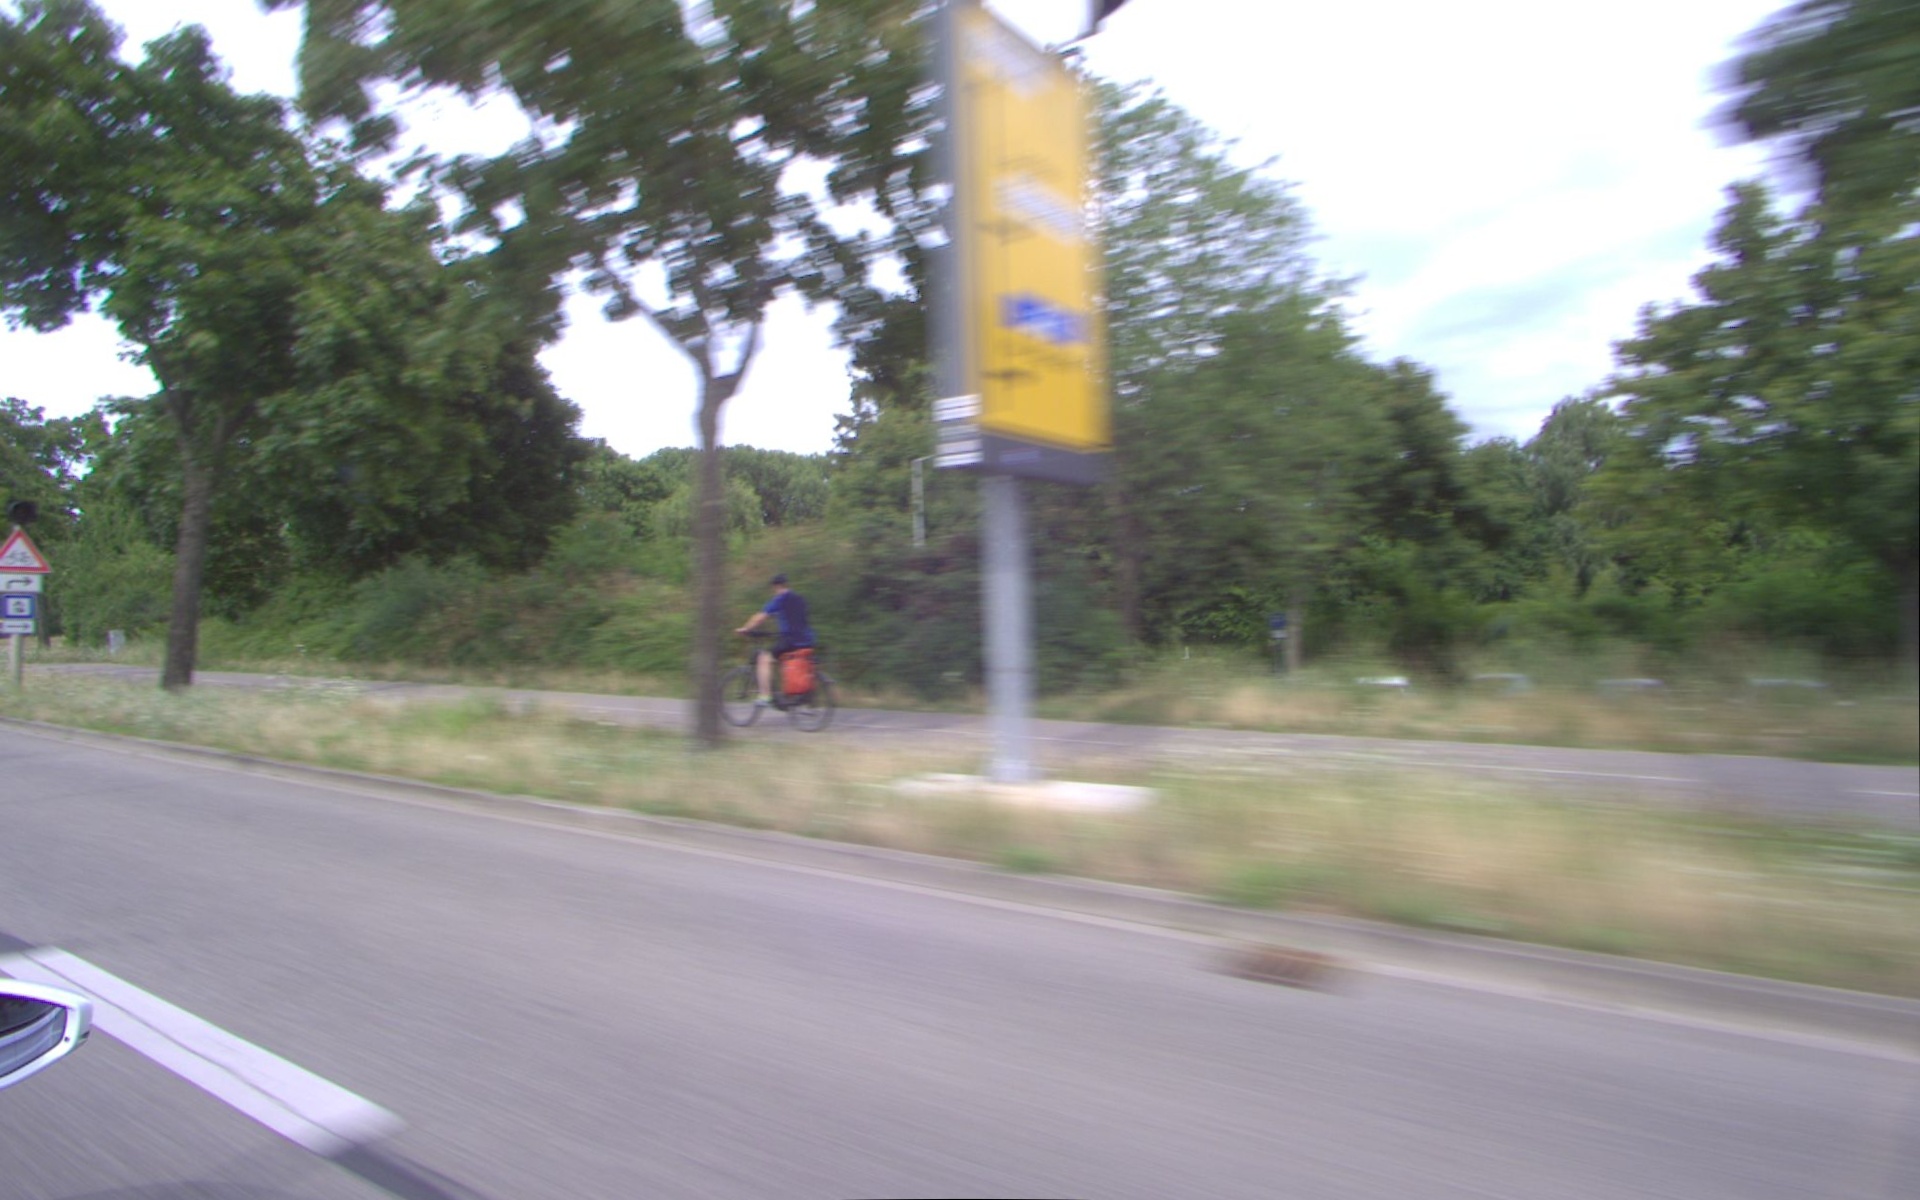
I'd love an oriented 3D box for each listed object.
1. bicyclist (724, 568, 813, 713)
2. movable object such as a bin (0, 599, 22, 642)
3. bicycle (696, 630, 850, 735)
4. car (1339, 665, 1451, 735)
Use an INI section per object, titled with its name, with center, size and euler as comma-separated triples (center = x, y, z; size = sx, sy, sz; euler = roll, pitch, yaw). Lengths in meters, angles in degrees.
[bicyclist]
center = -2.315, 0.483, 12.112
size = 0.864, 1.679, 0.651
euler = -1, -1, 32
[movable object such as a bin]
center = -63.005, 1.324, 63.812
size = 2.076, 2.723, 4.484
euler = -1, -2, 39
[bicycle]
center = -2.280, 0.957, 12.090
size = 1.953, 1.163, 0.572
euler = 0, 1, 32
[car]
center = 11.223, 2.502, 25.736
size = 1.669, 1.397, 3.732
euler = -1, 0, 40
